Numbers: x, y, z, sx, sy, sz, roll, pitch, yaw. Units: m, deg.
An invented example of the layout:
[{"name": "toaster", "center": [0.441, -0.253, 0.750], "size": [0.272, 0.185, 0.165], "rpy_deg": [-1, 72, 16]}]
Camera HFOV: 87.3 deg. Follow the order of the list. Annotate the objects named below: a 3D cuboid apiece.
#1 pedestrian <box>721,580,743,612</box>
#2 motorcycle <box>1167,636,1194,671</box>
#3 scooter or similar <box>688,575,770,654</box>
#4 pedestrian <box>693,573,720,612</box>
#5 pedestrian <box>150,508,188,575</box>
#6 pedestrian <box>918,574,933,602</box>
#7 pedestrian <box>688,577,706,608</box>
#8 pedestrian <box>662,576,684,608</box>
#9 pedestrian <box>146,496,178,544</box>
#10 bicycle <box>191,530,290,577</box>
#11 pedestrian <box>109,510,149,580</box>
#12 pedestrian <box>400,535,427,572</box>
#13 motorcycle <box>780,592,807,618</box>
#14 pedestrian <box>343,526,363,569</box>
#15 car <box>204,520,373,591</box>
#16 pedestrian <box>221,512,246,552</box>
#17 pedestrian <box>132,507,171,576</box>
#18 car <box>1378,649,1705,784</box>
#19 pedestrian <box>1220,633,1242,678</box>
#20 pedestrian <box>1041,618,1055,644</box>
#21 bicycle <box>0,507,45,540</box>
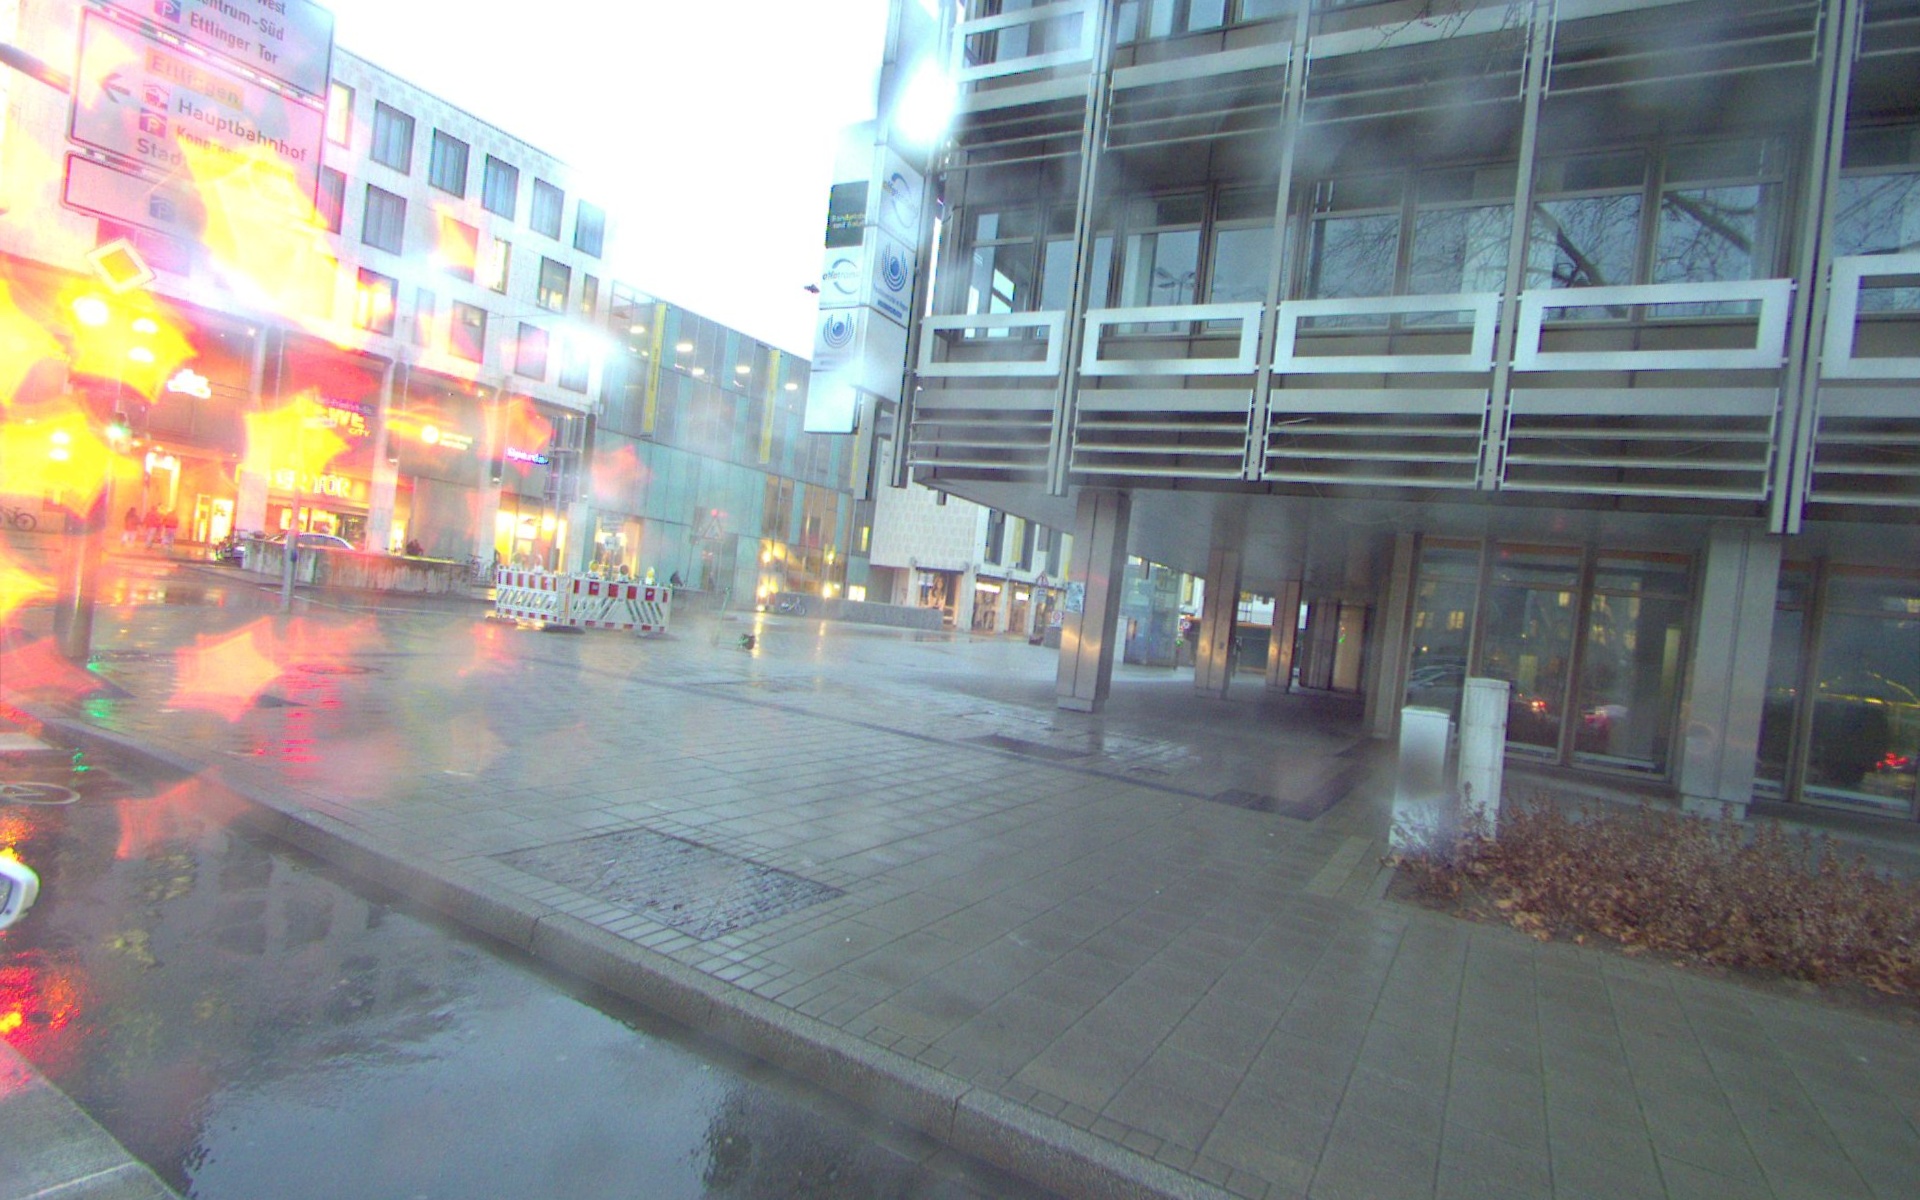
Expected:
[{"name": "pedestrian", "center": [-13.118, -0.241, 57.936], "size": [0.770, 1.703, 0.742], "rpy_deg": [6, -1, 38]}, {"name": "motorcycle", "center": [9.701, 2.366, 44.206], "size": [0.584, 1.368, 1.493], "rpy_deg": [7, -1, 29]}, {"name": "scooter or similar", "center": [-4.648, 0.287, 20.211], "size": [1.470, 1.368, 0.593], "rpy_deg": [7, -1, 32]}, {"name": "pedestrian", "center": [-11.990, -0.343, 47.552], "size": [0.770, 1.703, 0.742], "rpy_deg": [6, -1, 38]}, {"name": "pedestrian", "center": [-30.719, -2.266, 39.079], "size": [0.778, 2.477, 0.694], "rpy_deg": [7, -1, 32]}, {"name": "pedestrian", "center": [-2.183, -0.767, 64.064], "size": [0.573, 1.703, 0.542], "rpy_deg": [6, -1, 38]}, {"name": "pedestrian", "center": [-14.872, -0.421, 56.953], "size": [0.573, 1.703, 0.542], "rpy_deg": [6, -1, 38]}, {"name": "pedestrian", "center": [-16.618, -0.455, 58.200], "size": [0.770, 1.703, 0.742], "rpy_deg": [6, -1, 38]}, {"name": "pedestrian", "center": [-36.057, -3.603, 45.454], "size": [0.688, 2.038, 0.845], "rpy_deg": [7, 1, 40]}, {"name": "bicycle", "center": [-26.334, -1.683, 36.871], "size": [0.941, 1.375, 2.718], "rpy_deg": [6, -1, 28]}, {"name": "pedestrian", "center": [-30.959, -2.043, 37.467], "size": [0.745, 2.469, 0.716], "rpy_deg": [7, -1, 31]}, {"name": "pedestrian", "center": [-26.502, -2.243, 48.762], "size": [0.519, 1.705, 0.894], "rpy_deg": [6, 0, 31]}, {"name": "motorcycle", "center": [-10.146, 0.297, 61.164], "size": [0.585, 1.368, 1.491], "rpy_deg": [7, -1, 36]}, {"name": "pedestrian", "center": [-27.518, -2.368, 45.606], "size": [0.355, 1.849, 0.551], "rpy_deg": [6, 1, 32]}, {"name": "car", "center": [-21.713, -1.411, 32.651], "size": [1.968, 1.636, 3.994], "rpy_deg": [6, -2, 33]}, {"name": "pedestrian", "center": [-33.556, -3.137, 46.479], "size": [0.729, 1.740, 0.733], "rpy_deg": [6, 1, -31]}, {"name": "pedestrian", "center": [-30.715, -2.213, 38.211], "size": [0.745, 2.469, 0.691], "rpy_deg": [7, -1, 31]}, {"name": "car", "center": [8.662, 1.647, 15.227], "size": [3.935, 1.327, 1.994], "rpy_deg": [6, 1, 33]}, {"name": "pedestrian", "center": [11.586, 2.376, 42.973], "size": [0.678, 1.796, 0.660], "rpy_deg": [7, -1, 16]}, {"name": "pedestrian", "center": [6.108, 2.177, 70.098], "size": [0.573, 1.703, 0.542], "rpy_deg": [6, -1, 38]}, {"name": "bicycle", "center": [-36.385, -2.976, 38.643], "size": [0.515, 1.082, 1.651], "rpy_deg": [7, -2, 28]}]
